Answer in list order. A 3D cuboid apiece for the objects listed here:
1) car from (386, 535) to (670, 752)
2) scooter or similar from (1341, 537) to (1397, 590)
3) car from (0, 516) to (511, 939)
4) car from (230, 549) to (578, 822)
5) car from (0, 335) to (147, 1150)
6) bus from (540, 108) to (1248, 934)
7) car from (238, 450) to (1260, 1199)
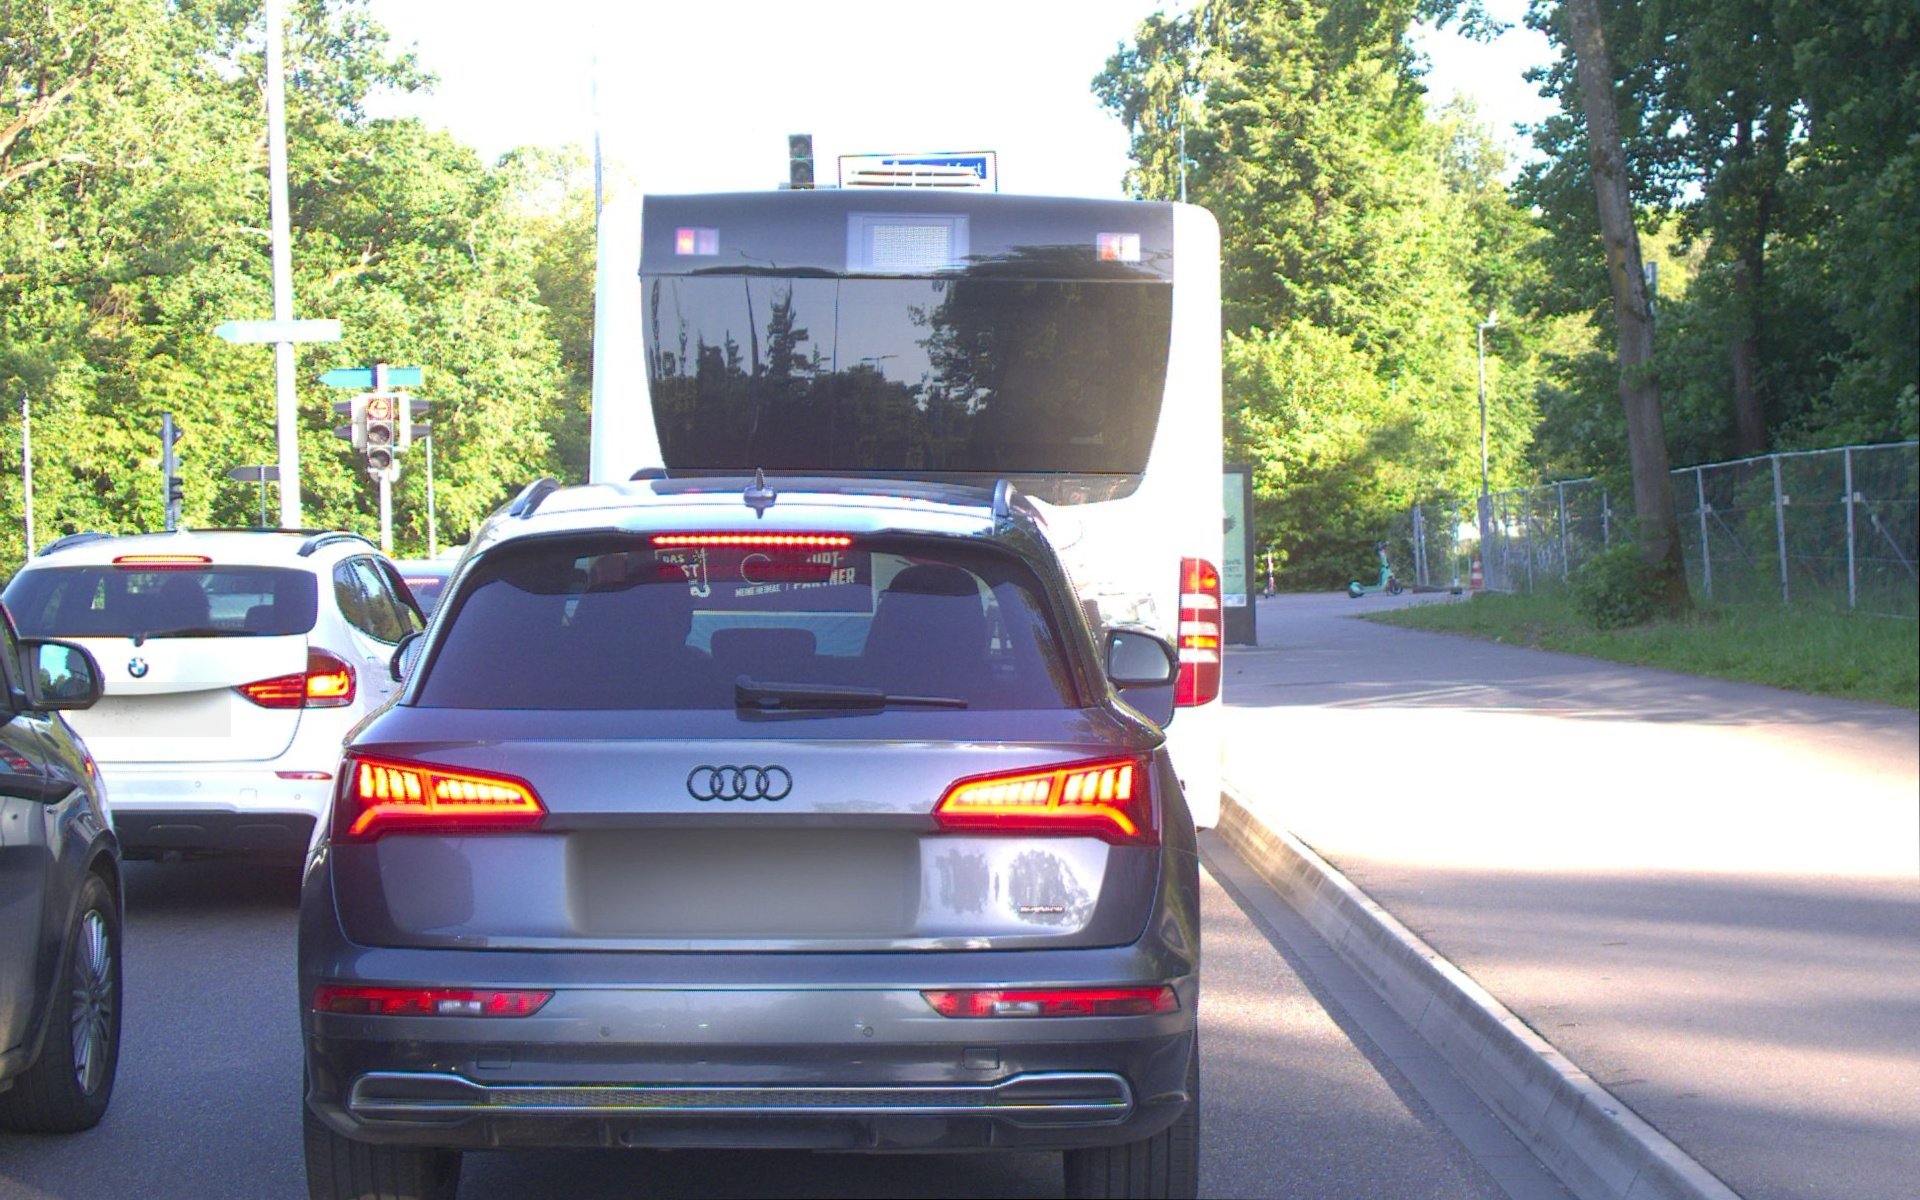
[{"bbox_3d":[-3.399,0.287,27.711,1.808,1.567,4.000,1,2,-1],"label":"car"},{"bbox_3d":[9.279,-0.832,77.985,1.184,1.170,0.659,1,1,11],"label":"scooter or similar"},{"bbox_3d":[-3.116,0.446,15.172,1.718,1.575,4.434,1,1,-1],"label":"car"},{"bbox_3d":[-3.329,0.448,21.271,1.785,1.439,4.279,1,2,-5],"label":"car"},{"bbox_3d":[-3.107,0.332,6.819,1.907,1.849,4.873,1,1,-1],"label":"car"},{"bbox_3d":[-0.225,-0.382,16.132,2.678,3.131,5.882,1,2,1],"label":"bus"},{"bbox_3d":[-0.415,0.510,8.349,1.868,1.658,4.000,1,2,-1],"label":"car"}]
